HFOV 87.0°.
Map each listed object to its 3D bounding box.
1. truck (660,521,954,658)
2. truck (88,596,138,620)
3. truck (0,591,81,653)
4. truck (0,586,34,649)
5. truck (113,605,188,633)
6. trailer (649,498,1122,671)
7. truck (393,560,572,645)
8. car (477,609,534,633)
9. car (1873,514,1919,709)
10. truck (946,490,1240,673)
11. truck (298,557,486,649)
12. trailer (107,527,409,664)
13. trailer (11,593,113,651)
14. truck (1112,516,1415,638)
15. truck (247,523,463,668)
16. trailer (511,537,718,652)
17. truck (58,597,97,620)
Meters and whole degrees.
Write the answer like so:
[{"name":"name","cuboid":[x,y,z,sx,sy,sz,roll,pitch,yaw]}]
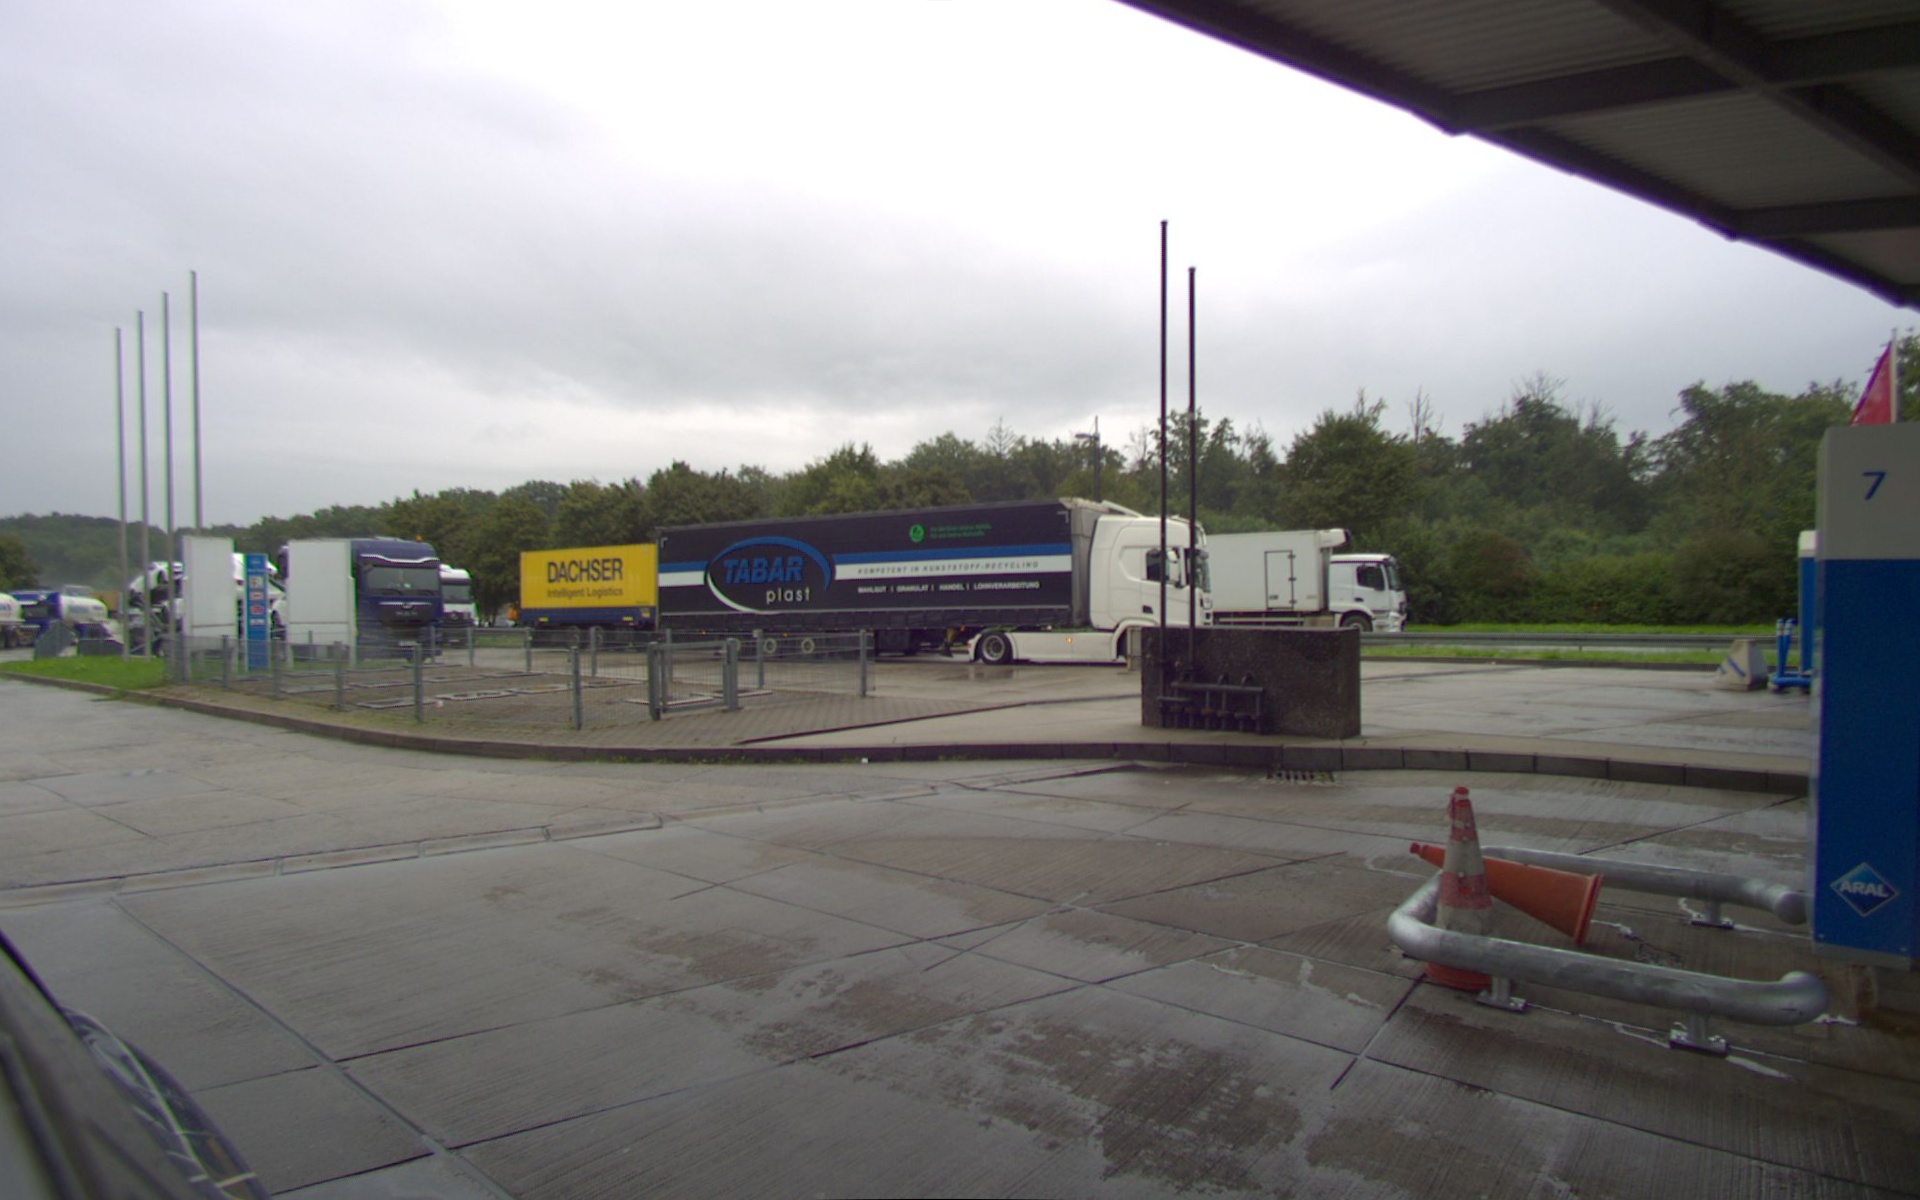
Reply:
[{"name":"truck","cuboid":[-5.383,-0.264,33.945,10.608,4.063,2.743,-1,0,33]},{"name":"truck","cuboid":[-133.667,1.248,159.674,11.949,3.591,3.213,-1,0,36]},{"name":"truck","cuboid":[-59.415,1.374,64.988,3.000,3.796,6.486,-1,0,-27]},{"name":"truck","cuboid":[-55.549,1.021,55.009,3.196,3.591,12.013,-1,0,-19]},{"name":"truck","cuboid":[-110.838,2.568,138.340,16.515,3.591,3.215,-1,0,34]},{"name":"trailer","cuboid":[-2.530,-0.300,28.376,13.741,4.063,2.963,-1,0,28]},{"name":"truck","cuboid":[-24.772,0.147,52.266,10.433,4.063,2.961,-1,0,30]},{"name":"car","cuboid":[-42.887,2.002,95.419,5.612,2.192,2.393,-1,-1,35]},{"name":"car","cuboid":[14.850,0.118,12.328,5.272,2.482,2.298,-1,-2,37]},{"name":"truck","cuboid":[3.316,-0.375,25.282,6.704,4.063,2.966,-1,0,25]},{"name":"truck","cuboid":[-27.293,0.181,48.437,10.433,4.063,2.961,-1,0,30]},{"name":"trailer","cuboid":[-25.409,-0.052,35.915,16.563,4.063,2.957,-1,0,34]},{"name":"trailer","cuboid":[-62.260,1.438,70.475,2.854,3.666,10.605,-1,0,-28]},{"name":"truck","cuboid":[11.098,-0.728,37.678,10.433,4.063,2.961,-1,0,30]},{"name":"truck","cuboid":[-18.985,-0.109,31.612,7.244,4.063,2.957,-1,0,34]},{"name":"trailer","cuboid":[-13.538,-0.160,39.279,8.833,4.063,2.743,-1,0,33]},{"name":"truck","cuboid":[-136.898,1.306,156.870,9.306,3.504,2.588,-1,0,36]}]
